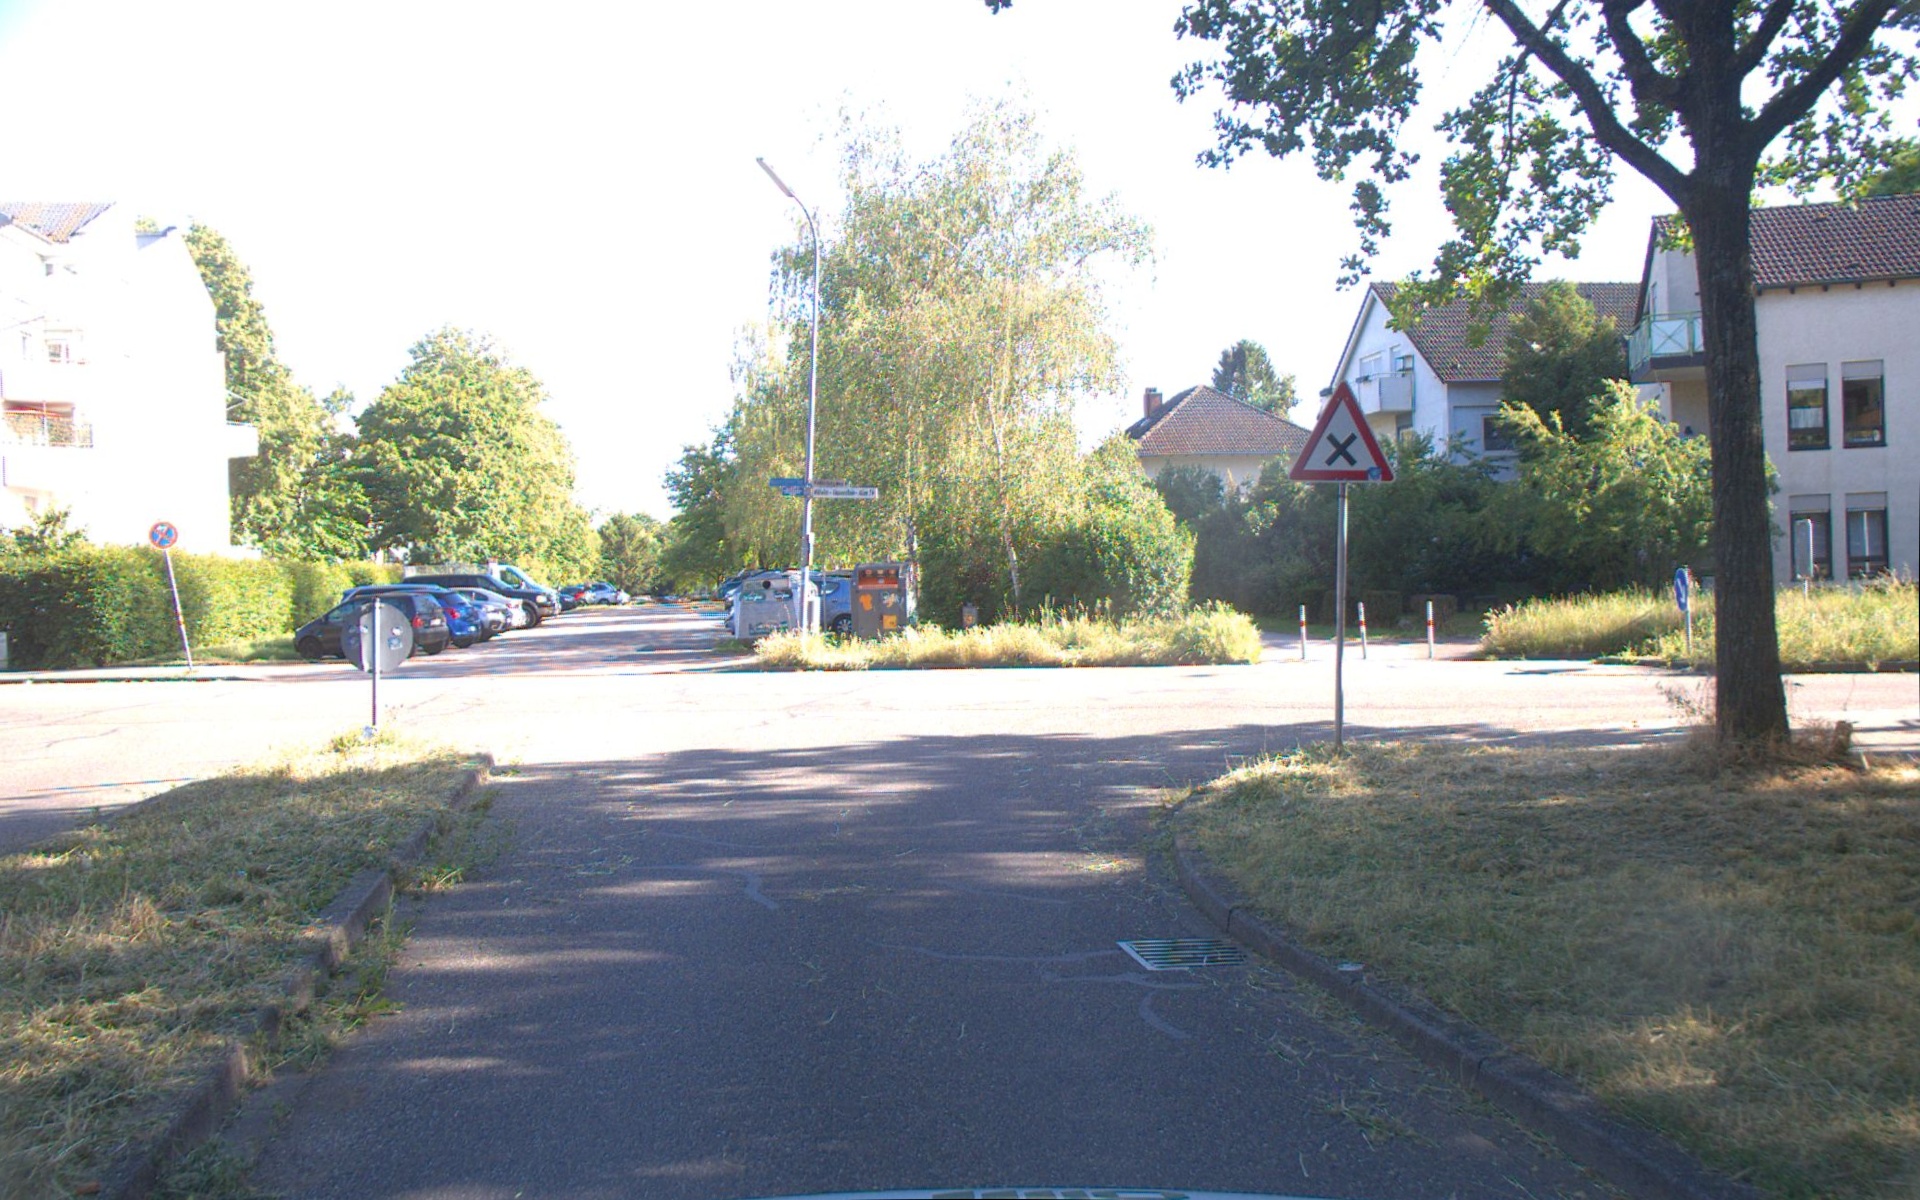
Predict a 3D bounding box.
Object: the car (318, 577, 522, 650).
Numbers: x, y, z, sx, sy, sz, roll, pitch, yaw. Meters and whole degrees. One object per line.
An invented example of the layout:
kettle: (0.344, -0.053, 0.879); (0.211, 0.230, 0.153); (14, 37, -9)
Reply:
car: (-14.667, 0.343, 45.094); (4.893, 1.683, 1.783); (-3, 1, -3)

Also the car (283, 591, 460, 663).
car: (-13.736, 0.617, 38.673); (3.447, 1.492, 1.705); (-2, 2, 8)

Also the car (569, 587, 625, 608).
car: (-26.650, -0.180, 121.501); (3.867, 1.357, 1.843); (-2, 1, -9)

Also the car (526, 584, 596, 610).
car: (-23.784, -0.206, 98.712); (3.867, 1.357, 1.843); (-2, 1, -9)

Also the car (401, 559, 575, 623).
car: (-18.071, -0.365, 63.662); (6.144, 2.184, 2.405); (-2, 1, -11)

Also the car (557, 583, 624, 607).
car: (-22.791, -0.315, 102.203); (3.867, 1.357, 1.843); (-2, 1, -9)

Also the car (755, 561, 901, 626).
car: (-3.889, -0.226, 48.577); (4.036, 1.735, 1.784); (-2, 2, -15)

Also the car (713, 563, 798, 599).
car: (-9.679, -0.895, 78.418); (3.910, 1.613, 1.796); (-1, 0, -6)

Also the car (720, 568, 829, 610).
car: (-6.811, -0.406, 60.996); (3.910, 1.425, 1.796); (-2, 0, -6)

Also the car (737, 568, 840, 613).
car: (-6.689, -0.369, 64.718); (3.910, 1.613, 1.796); (-1, 0, -6)

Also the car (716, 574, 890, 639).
car: (-3.779, 0.144, 40.154); (3.967, 1.464, 1.636); (-1, 1, 4)

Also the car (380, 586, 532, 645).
car: (-14.916, 0.431, 49.086); (4.070, 1.480, 1.615); (-4, 1, -11)

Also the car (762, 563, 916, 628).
car: (-3.368, -0.145, 45.761); (3.984, 1.631, 1.785); (-2, 2, -14)

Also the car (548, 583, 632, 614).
car: (-18.314, -0.097, 81.961); (3.867, 1.357, 1.843); (-2, 1, -9)

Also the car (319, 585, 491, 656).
car: (-13.762, 0.487, 41.134); (3.603, 1.522, 1.652); (-3, 1, 4)

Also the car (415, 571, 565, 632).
car: (-15.603, 0.037, 55.079); (4.433, 1.801, 1.846); (-2, 1, -4)

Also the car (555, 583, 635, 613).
car: (-18.710, -0.137, 84.977); (3.867, 1.357, 1.843); (-2, 1, -9)

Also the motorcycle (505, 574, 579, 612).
motorcycle: (-19.205, -0.314, 76.048); (3.131, 1.624, 0.922); (-2, 1, -7)

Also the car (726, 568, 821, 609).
car: (-7.886, -0.495, 70.221); (3.910, 1.613, 1.796); (-1, 0, -6)

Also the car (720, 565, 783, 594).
car: (-13.416, -1.326, 106.683); (3.910, 1.738, 1.796); (-1, 0, -6)
